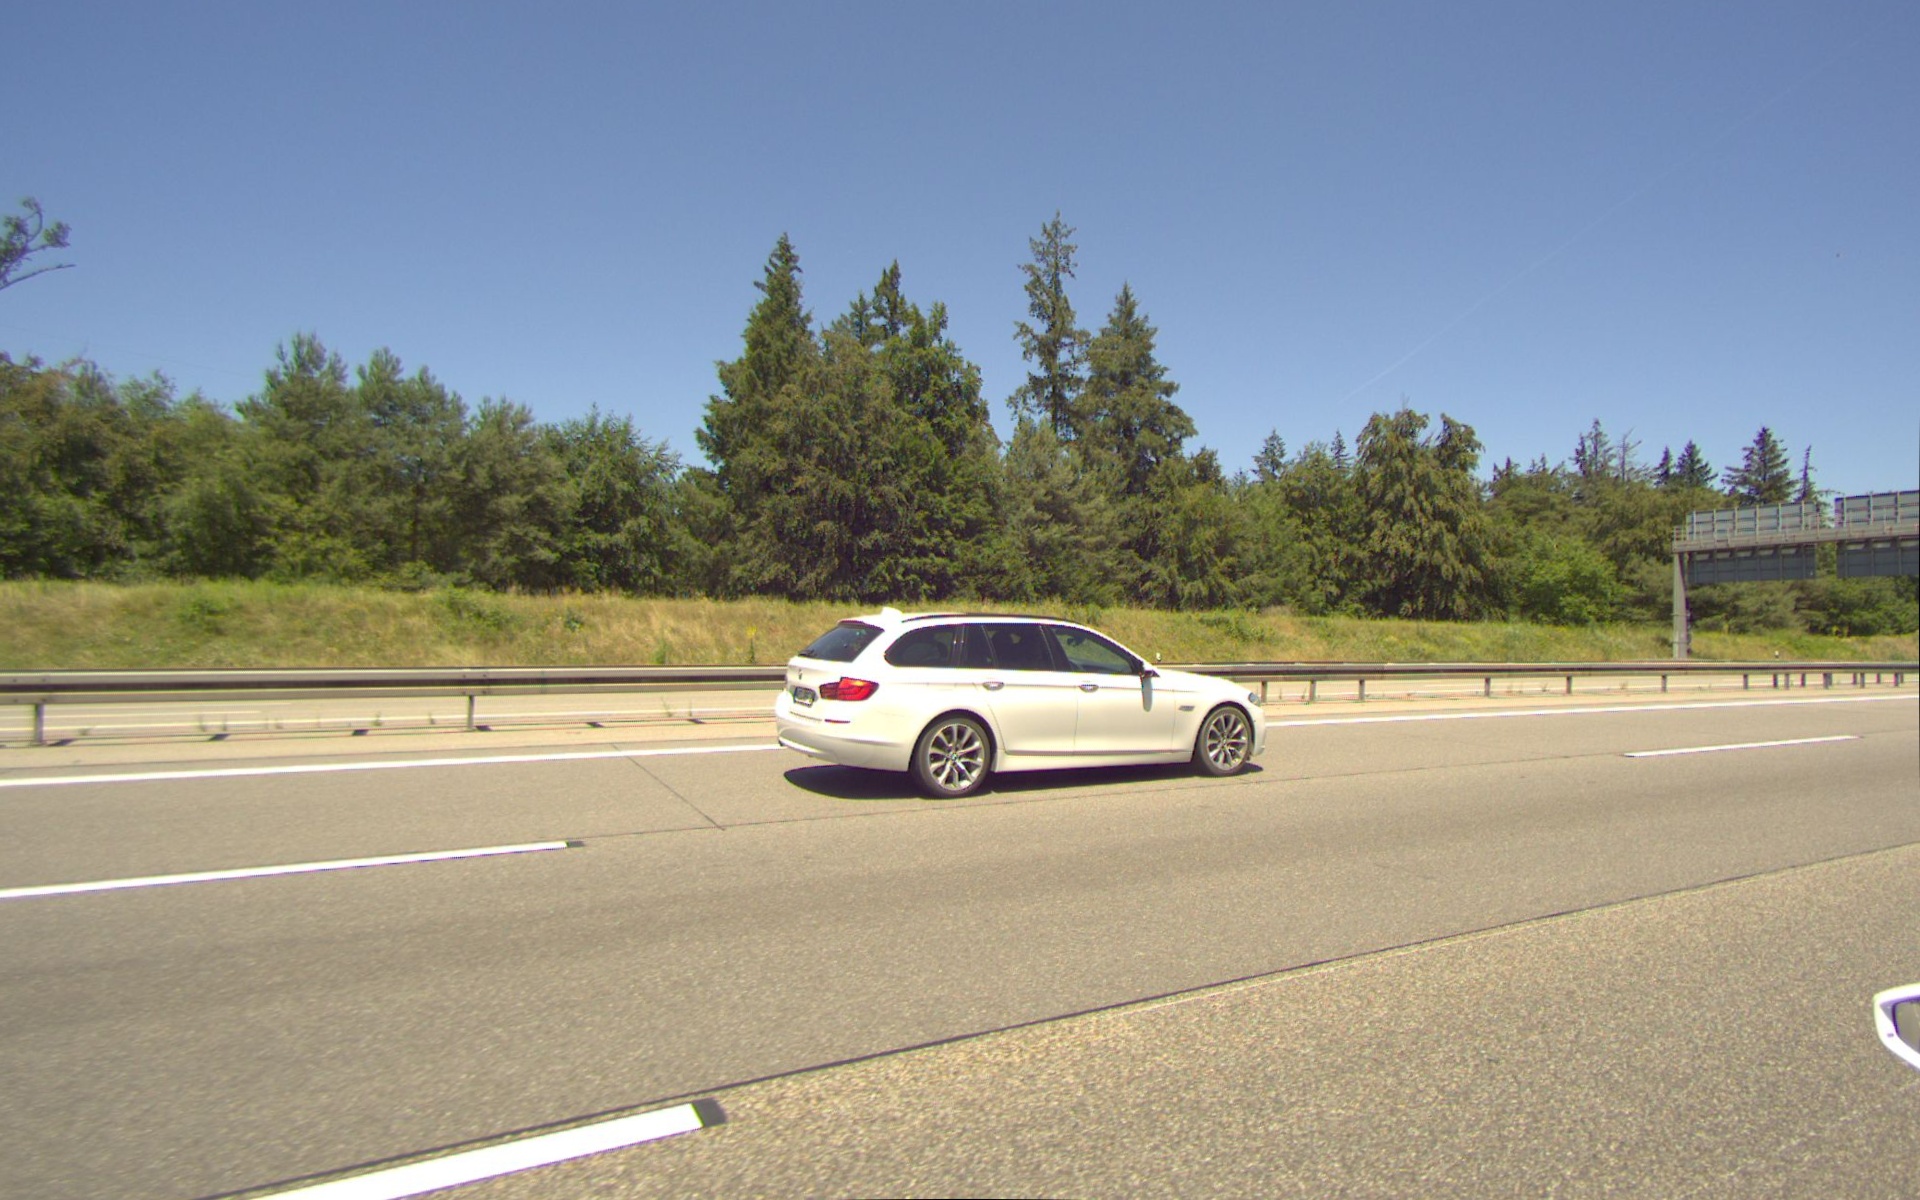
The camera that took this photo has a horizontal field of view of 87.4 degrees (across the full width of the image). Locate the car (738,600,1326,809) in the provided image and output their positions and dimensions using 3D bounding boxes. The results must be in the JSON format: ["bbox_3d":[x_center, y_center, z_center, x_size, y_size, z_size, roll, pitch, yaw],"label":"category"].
[{"bbox_3d":[0.804,0.854,9.490,5.338,1.523,1.955,2,-1,-29],"label":"car"}]

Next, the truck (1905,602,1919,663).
[{"bbox_3d":[67.618,2.279,68.182,6.135,4.071,3.203,2,-1,-27],"label":"truck"}]
